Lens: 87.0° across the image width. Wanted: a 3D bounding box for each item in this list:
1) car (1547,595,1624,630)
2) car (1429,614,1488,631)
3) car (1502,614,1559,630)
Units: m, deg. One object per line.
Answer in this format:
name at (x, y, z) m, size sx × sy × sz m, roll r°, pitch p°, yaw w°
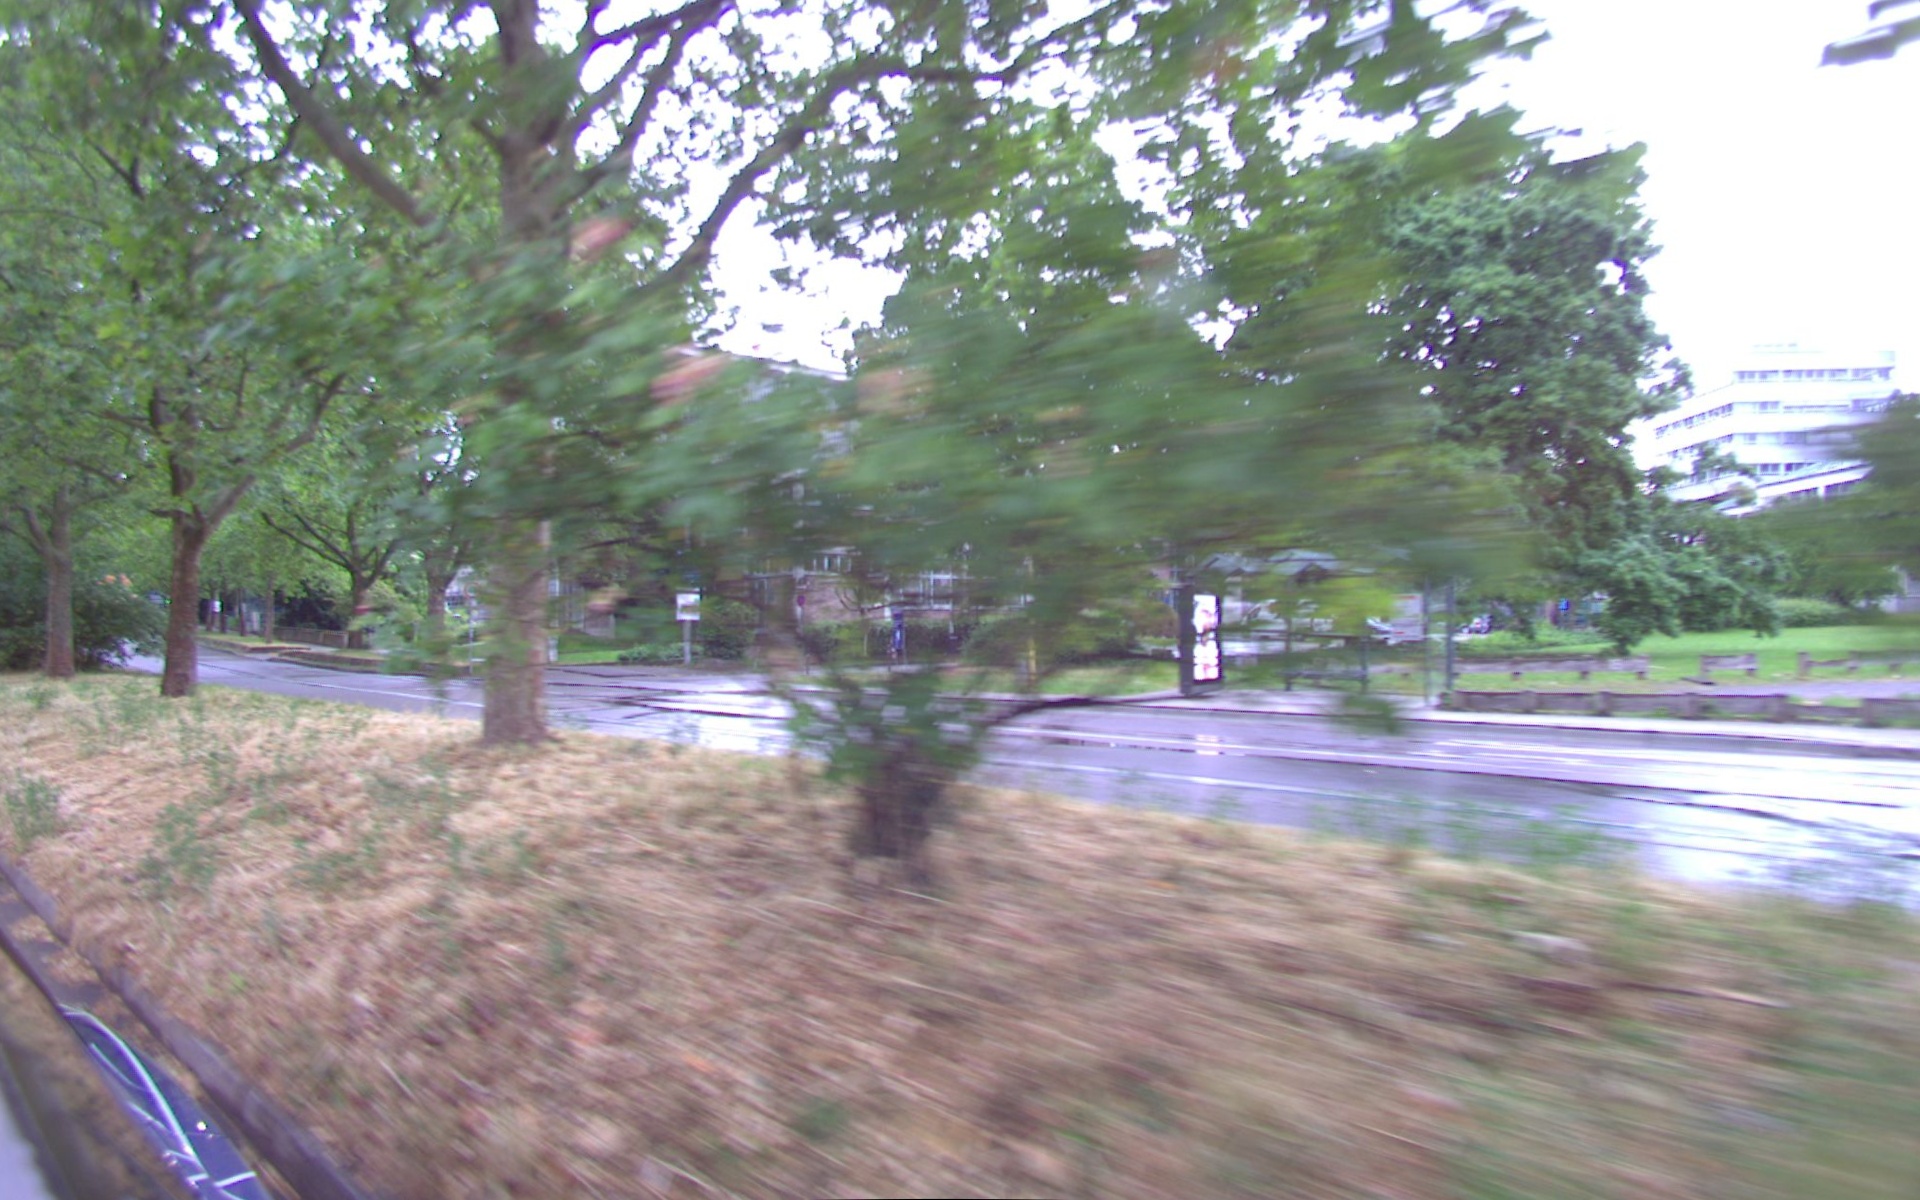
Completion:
car at (55.155, 1.042, 89.213) m, size 6.359 × 2.838 × 3.607 m, roll -1°, pitch 1°, yaw -36°
car at (36.801, 1.634, 74.808) m, size 1.566 × 1.151 × 3.564 m, roll -1°, pitch 0°, yaw -37°
car at (45.325, 1.727, 80.443) m, size 1.566 × 1.151 × 3.564 m, roll -1°, pitch 1°, yaw -37°
